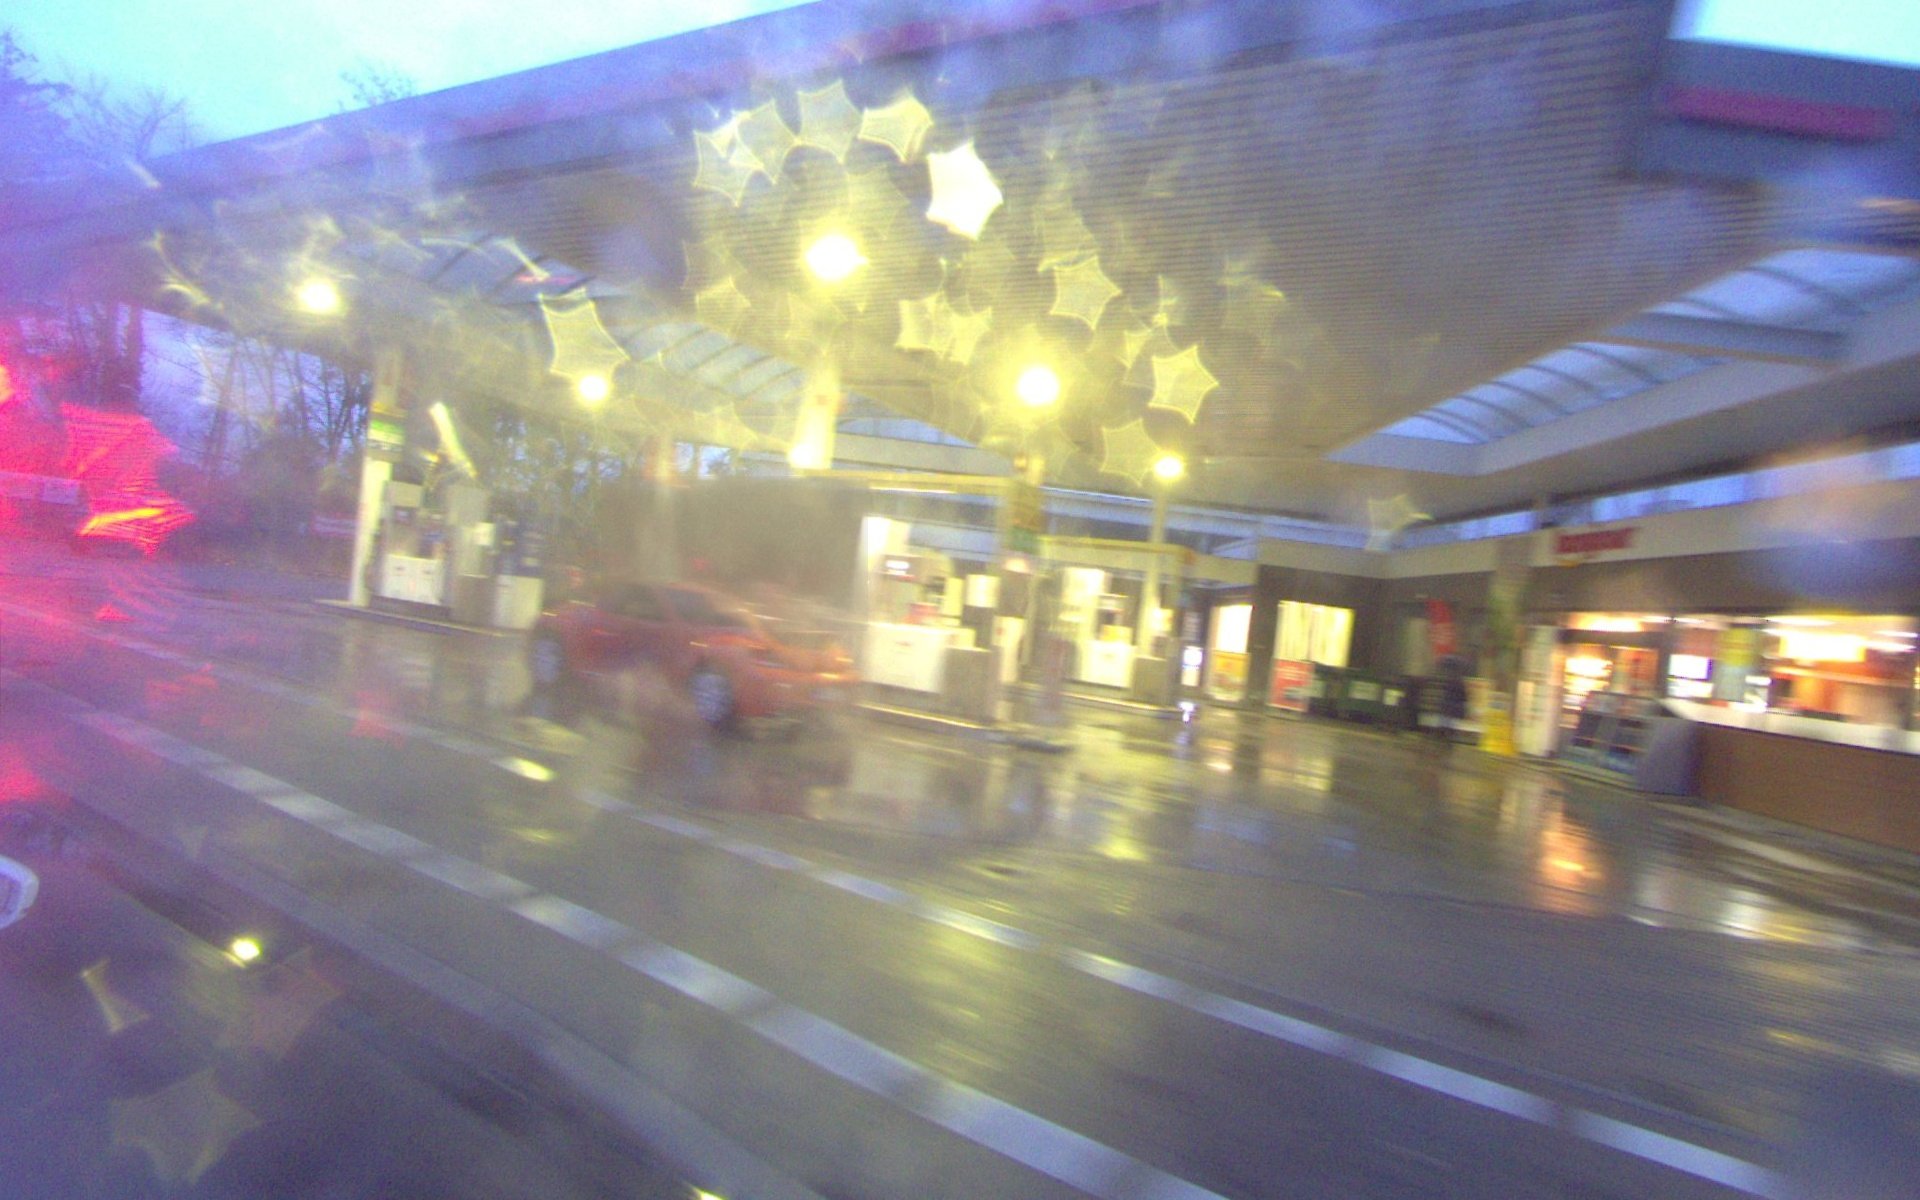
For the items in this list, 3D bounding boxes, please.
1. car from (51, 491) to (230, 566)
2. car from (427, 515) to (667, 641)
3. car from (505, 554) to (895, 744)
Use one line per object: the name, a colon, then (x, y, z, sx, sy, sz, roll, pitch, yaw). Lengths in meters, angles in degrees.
car: (-23.172, -1.950, 28.709, 1.987, 1.628, 4.472, 7, 0, -12)
car: (-7.895, -0.430, 19.159, 4.226, 1.883, 1.995, 7, 1, 31)
car: (-2.898, 0.441, 10.893, 4.099, 1.414, 1.574, 7, 1, 31)
